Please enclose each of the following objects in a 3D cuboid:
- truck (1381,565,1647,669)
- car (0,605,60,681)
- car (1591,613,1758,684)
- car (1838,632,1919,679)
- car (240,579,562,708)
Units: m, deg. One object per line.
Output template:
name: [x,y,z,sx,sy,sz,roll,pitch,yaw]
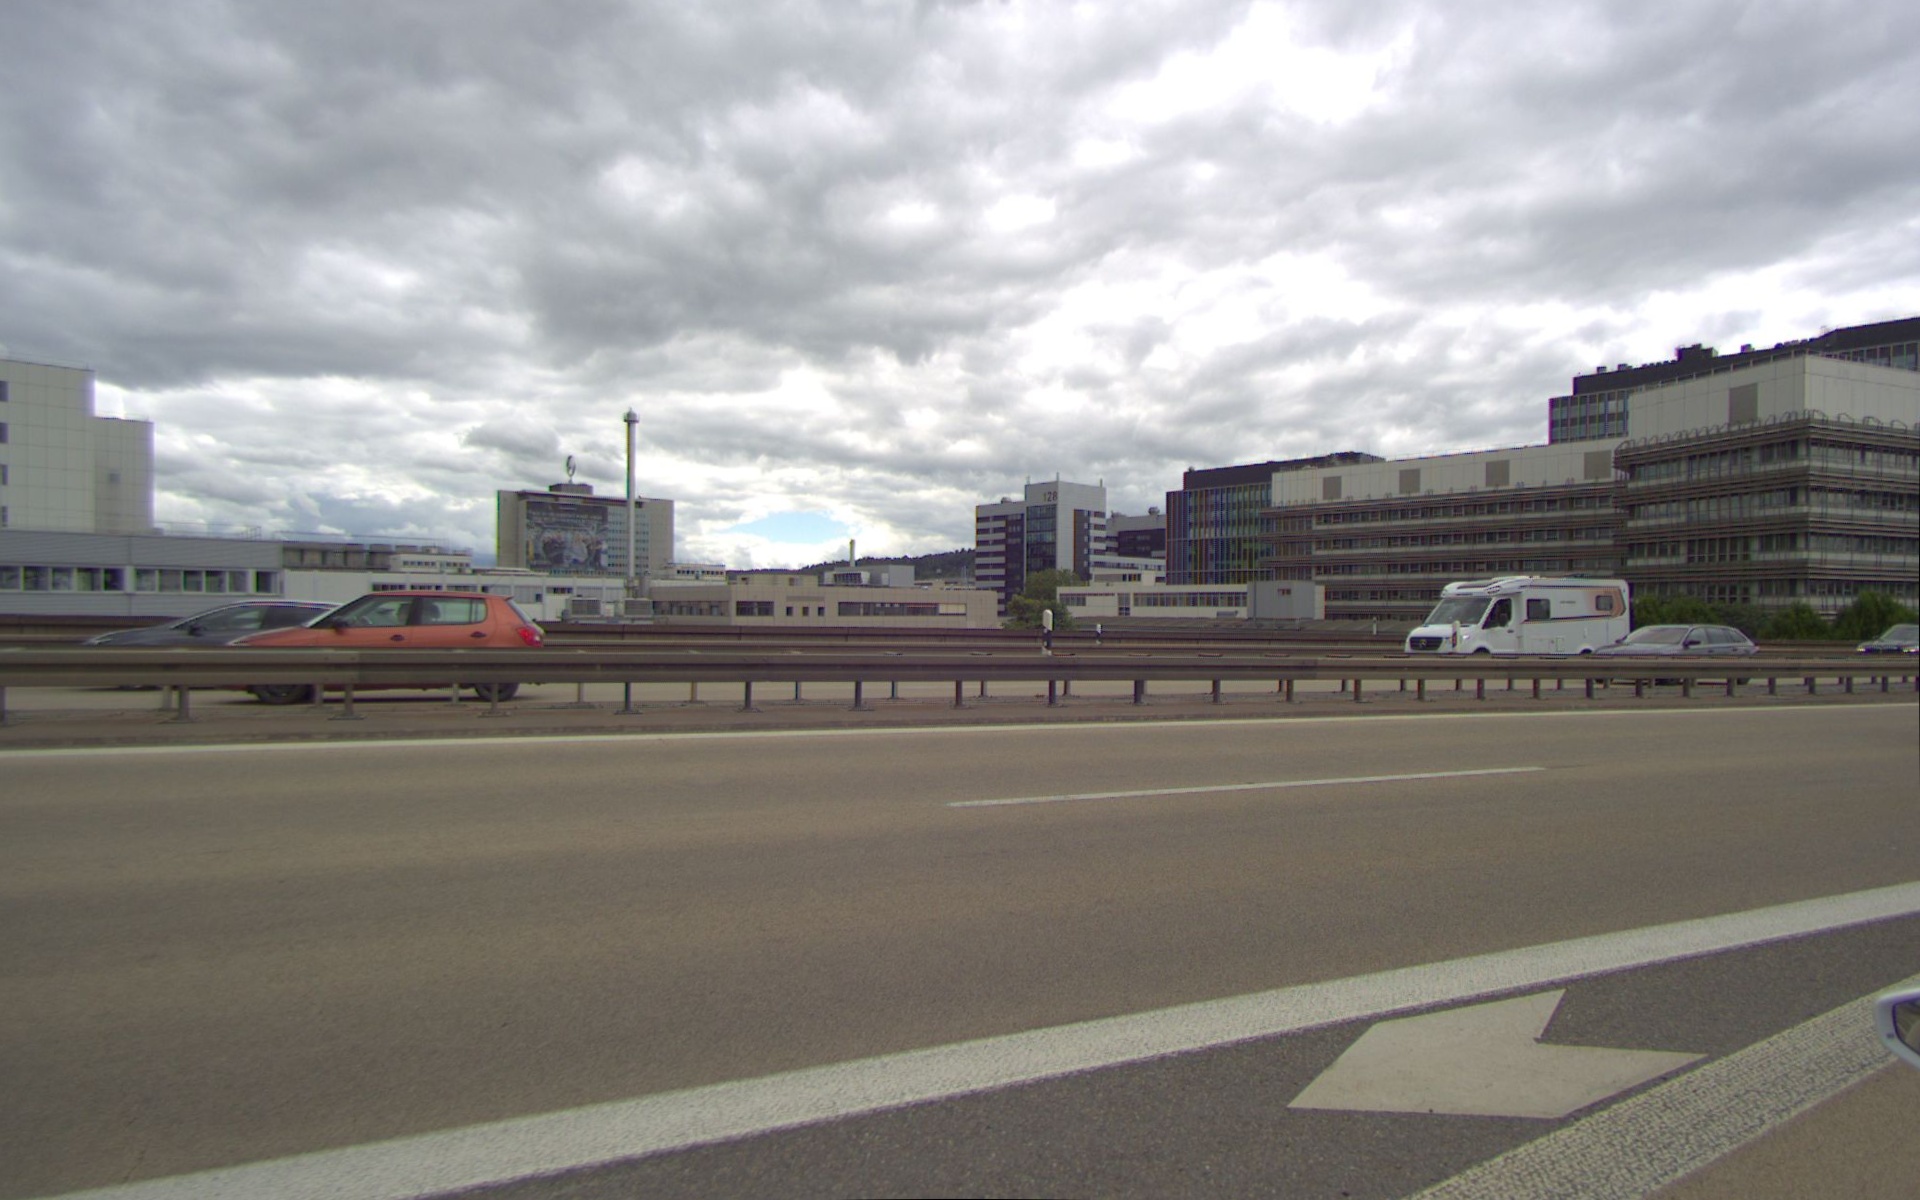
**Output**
truck: [15.509,0.533,28.088,7.240,2.661,2.487,1,-2,-22]
car: [-18.037,0.714,16.696,4.218,1.251,1.639,1,-2,-22]
car: [17.275,1.154,24.300,3.666,1.606,1.641,1,-2,-24]
car: [34.649,2.004,36.807,4.566,1.657,1.989,1,-2,-24]
car: [-7.406,0.617,13.737,3.589,1.571,1.692,2,-3,-22]
